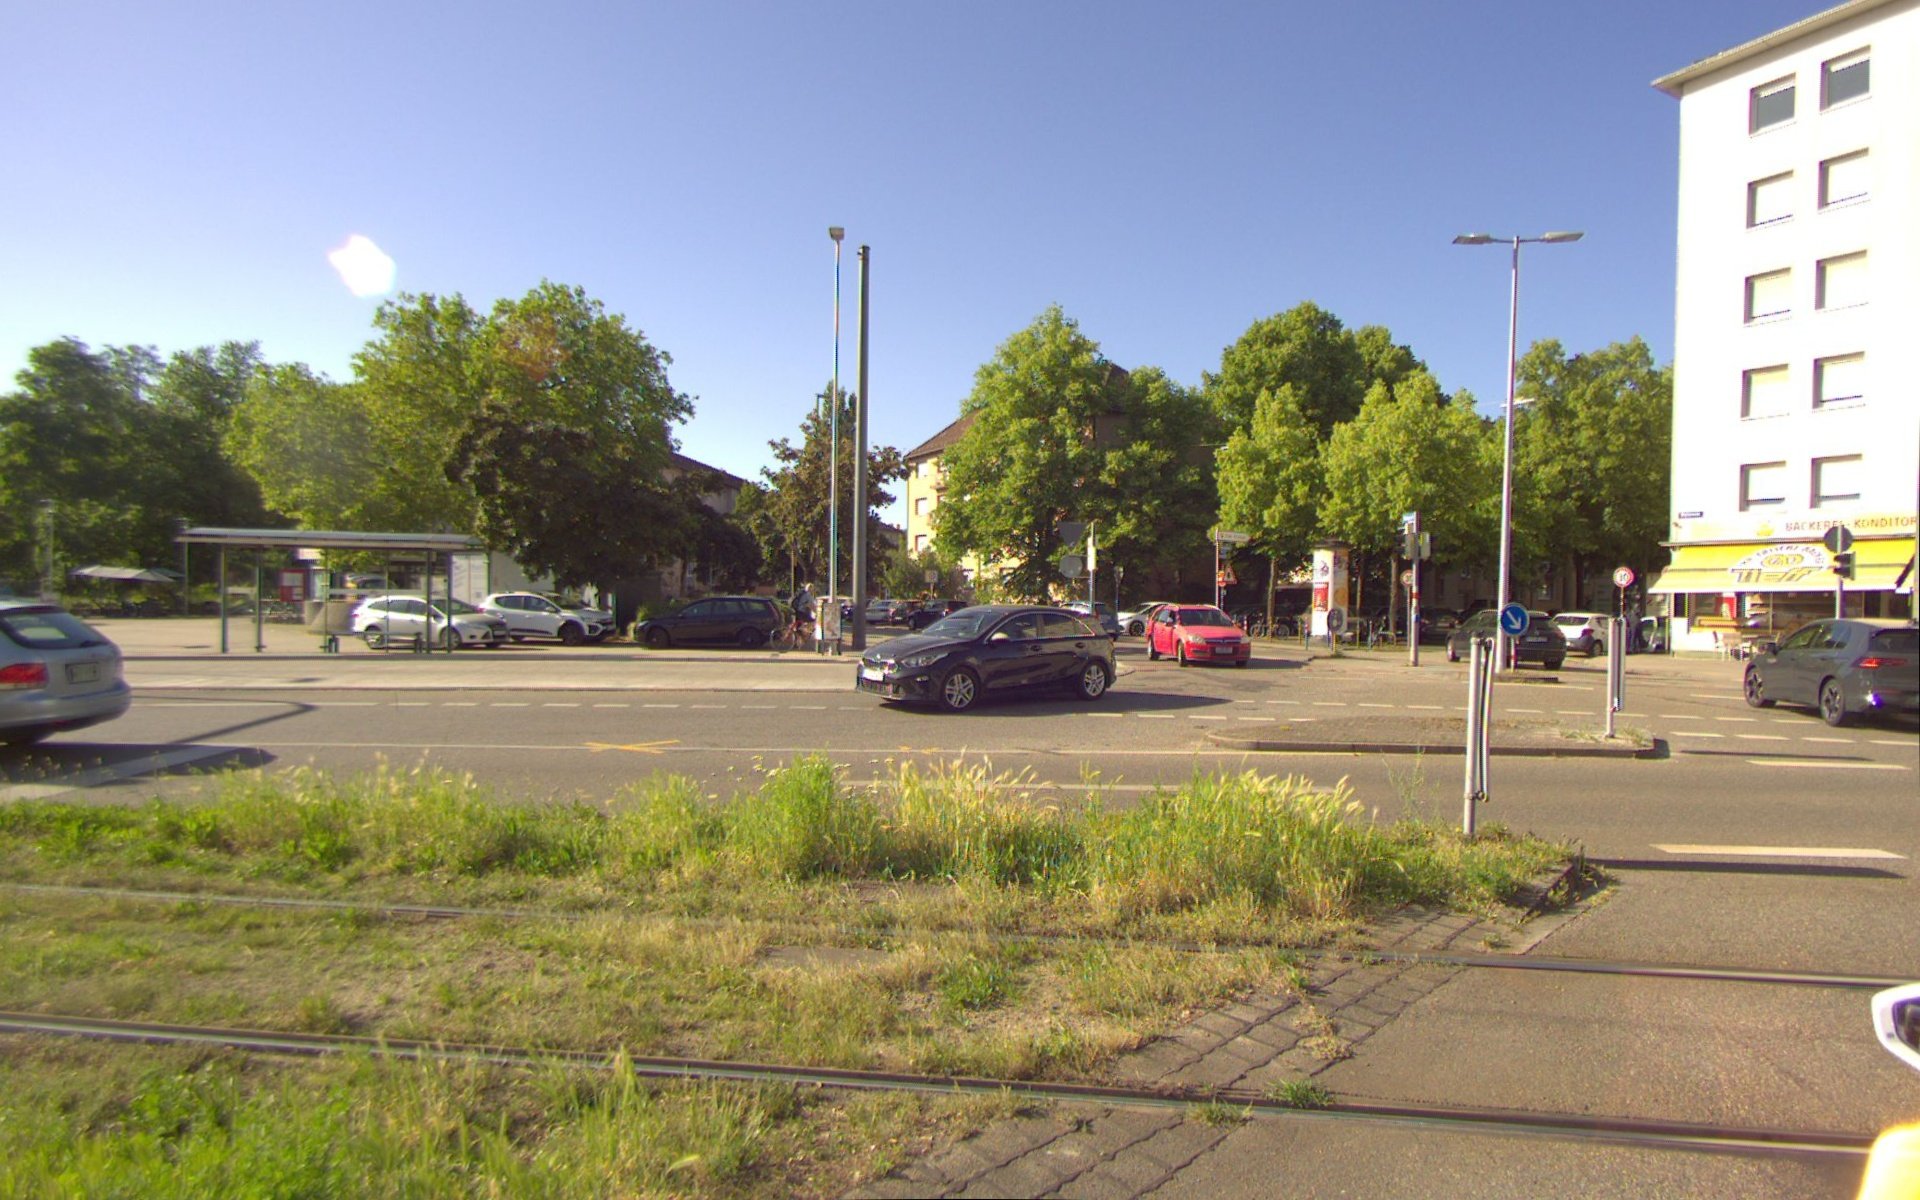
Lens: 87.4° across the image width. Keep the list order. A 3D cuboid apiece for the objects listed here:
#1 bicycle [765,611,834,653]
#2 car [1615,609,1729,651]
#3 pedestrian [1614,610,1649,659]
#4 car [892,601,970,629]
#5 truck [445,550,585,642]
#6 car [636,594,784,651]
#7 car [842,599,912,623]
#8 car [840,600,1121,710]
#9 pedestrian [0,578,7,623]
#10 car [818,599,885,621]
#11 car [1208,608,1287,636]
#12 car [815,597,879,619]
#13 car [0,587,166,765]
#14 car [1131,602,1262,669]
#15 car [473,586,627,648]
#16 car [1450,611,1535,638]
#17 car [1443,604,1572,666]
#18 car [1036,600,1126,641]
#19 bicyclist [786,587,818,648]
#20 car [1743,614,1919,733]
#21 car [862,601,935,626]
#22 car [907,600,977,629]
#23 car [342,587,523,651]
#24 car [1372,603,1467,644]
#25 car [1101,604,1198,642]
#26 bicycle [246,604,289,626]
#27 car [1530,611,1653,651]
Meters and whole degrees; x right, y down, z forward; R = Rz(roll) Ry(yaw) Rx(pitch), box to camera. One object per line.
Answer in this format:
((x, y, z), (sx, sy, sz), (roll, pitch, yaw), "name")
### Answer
((-4.107, 0.803, 25.753), (1.637, 1.015, 0.609), (-1, 2, -28), "bicycle")
((27.263, 1.130, 38.471), (3.886, 1.533, 1.930), (1, 0, -26), "car")
((22.717, 1.156, 33.979), (0.822, 1.643, 0.785), (0, 0, -39), "pedestrian")
((-1.599, 0.821, 55.661), (3.958, 1.460, 1.901), (1, 0, -34), "car")
((-15.681, -0.157, 35.706), (1.960, 3.035, 4.830), (1, 1, 15), "truck")
((-7.226, 0.636, 29.366), (3.932, 1.509, 1.762), (0, 3, -5), "car")
((-5.163, 0.666, 62.464), (3.919, 1.356, 1.807), (1, 0, 15), "car")
((0.401, 0.737, 14.956), (4.115, 1.410, 1.646), (1, 0, -40), "car")
((-39.496, 0.011, 41.167), (0.555, 1.854, 0.719), (1, 1, -41), "pedestrian")
((-7.074, 0.648, 65.356), (3.919, 1.356, 1.807), (1, 0, 15), "car")
((14.041, 1.043, 49.044), (3.655, 1.311, 1.588), (1, 0, -27), "car")
((-7.635, 0.540, 67.961), (3.919, 1.356, 1.807), (1, 0, 15), "car")
((-10.332, 0.618, 8.947), (4.798, 1.462, 1.730), (1, 2, -13), "car")
((5.972, 0.835, 25.906), (1.723, 1.509, 4.537), (-1, 0, -9), "car")
((-12.361, 0.479, 30.446), (3.921, 1.741, 1.763), (0, 3, 0), "car")
((26.162, 1.207, 49.443), (3.374, 1.206, 1.668), (1, 0, 15), "car")
((14.791, 0.885, 27.402), (1.730, 1.506, 4.296), (1, 0, 9), "car")
((4.653, 0.767, 38.940), (1.635, 1.457, 3.362), (1, 0, -35), "car")
((-4.065, 0.436, 25.770), (0.667, 1.551, 0.610), (-1, 2, -27), "bicyclist")
((12.767, 0.949, 14.246), (1.595, 1.448, 3.687), (1, 0, 21), "car")
((-3.655, 0.770, 59.570), (3.919, 1.356, 1.807), (1, 0, 15), "car")
((-0.875, 0.663, 46.733), (1.677, 1.270, 3.595), (1, 0, -31), "car")
((-14.872, 0.488, 28.360), (4.458, 1.565, 1.872), (1, 3, 17), "car")
((19.450, 0.970, 42.602), (1.653, 1.623, 3.277), (0, 0, -33), "car")
((8.740, 1.034, 46.376), (4.168, 1.639, 1.755), (1, 1, -25), "car")
((-27.623, 0.592, 40.075), (1.652, 0.850, 0.548), (1, 0, 21), "bicycle")
((22.353, 1.073, 35.562), (3.949, 1.327, 1.986), (1, 0, -27), "car")
